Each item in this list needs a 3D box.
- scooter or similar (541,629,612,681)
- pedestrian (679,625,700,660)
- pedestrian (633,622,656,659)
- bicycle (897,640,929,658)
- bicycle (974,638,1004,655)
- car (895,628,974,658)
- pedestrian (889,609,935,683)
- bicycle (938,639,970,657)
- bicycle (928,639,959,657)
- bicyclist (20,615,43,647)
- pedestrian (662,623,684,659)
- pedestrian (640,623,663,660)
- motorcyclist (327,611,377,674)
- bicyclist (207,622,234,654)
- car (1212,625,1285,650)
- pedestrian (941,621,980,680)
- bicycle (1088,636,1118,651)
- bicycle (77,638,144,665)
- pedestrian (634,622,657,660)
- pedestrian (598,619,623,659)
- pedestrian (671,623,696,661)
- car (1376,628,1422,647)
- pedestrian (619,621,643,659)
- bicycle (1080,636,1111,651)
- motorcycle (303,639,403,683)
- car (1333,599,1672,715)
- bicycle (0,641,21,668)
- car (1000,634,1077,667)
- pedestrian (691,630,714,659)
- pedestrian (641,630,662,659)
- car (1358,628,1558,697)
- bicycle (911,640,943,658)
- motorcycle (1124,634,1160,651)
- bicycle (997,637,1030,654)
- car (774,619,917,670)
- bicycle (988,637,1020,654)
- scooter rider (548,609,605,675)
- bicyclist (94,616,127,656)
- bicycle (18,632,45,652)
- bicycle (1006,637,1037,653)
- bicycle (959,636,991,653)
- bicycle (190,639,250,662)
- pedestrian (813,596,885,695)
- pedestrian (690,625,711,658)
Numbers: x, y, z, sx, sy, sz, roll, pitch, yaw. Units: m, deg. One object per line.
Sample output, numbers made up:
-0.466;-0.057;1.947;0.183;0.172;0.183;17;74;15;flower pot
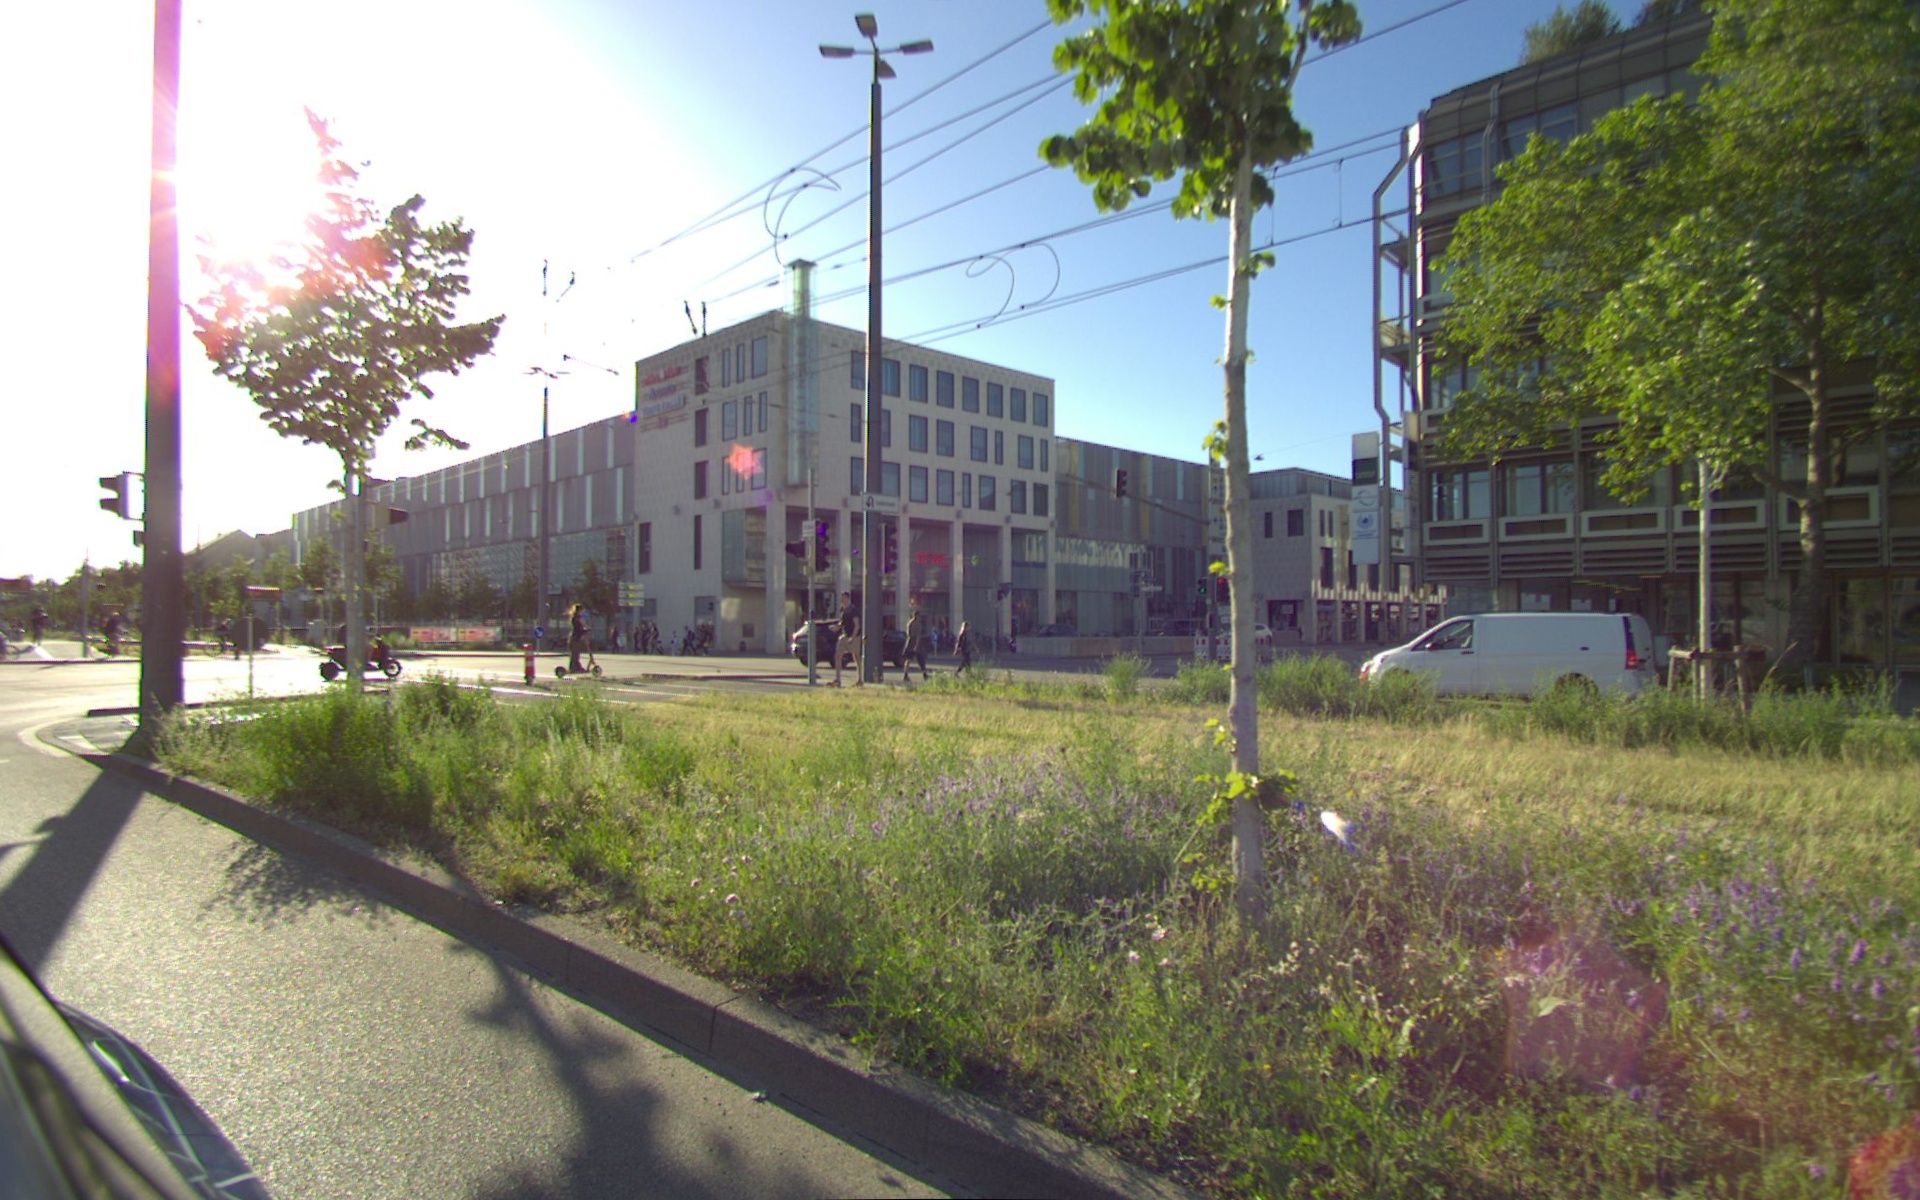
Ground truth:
-9.261;1.309;24.459;1.461;1.184;0.645;1;-1;-44;scooter or similar
-15.949;2.487;59.679;0.907;2.029;1.021;0;-2;9;pedestrian
-18.904;2.419;60.601;0.897;2.140;0.935;-1;-2;38;pedestrian
-2.996;3.095;64.029;0.647;1.121;2.414;1;-2;-41;bicycle
1.968;3.113;68.631;0.584;1.119;2.480;1;-2;-39;bicycle
-1.410;2.401;57.083;4.229;1.593;1.946;1;-2;-43;car
-1.173;1.118;24.787;0.858;1.757;0.729;-2;-1;41;pedestrian
-0.417;3.125;66.344;0.673;1.119;2.480;1;-2;-39;bicycle
-1.077;3.133;65.891;0.673;1.119;2.481;1;-2;-38;bicycle
-44.113;1.477;48.096;0.617;1.517;0.745;-2;-2;43;bicyclist
-17.278;2.463;60.946;0.896;2.140;0.936;-1;-2;33;pedestrian
-18.108;2.407;59.343;0.894;2.140;0.938;-1;-2;27;pedestrian
-14.577;1.002;24.252;0.869;1.495;0.758;1;-1;-44;motorcyclist
-32.938;1.690;45.064;0.805;1.367;0.830;-1;-1;42;bicyclist
20.057;2.598;70.307;5.527;1.705;2.184;2;-2;-41;car
0.027;1.375;27.820;0.889;1.561;0.920;-1;0;12;pedestrian
10.907;3.337;77.362;0.650;1.119;2.480;1;-2;-39;bicycle
-33.213;2.004;39.600;1.946;1.004;0.650;0;-1;-36;bicycle
-17.561;2.281;56.575;0.889;2.140;0.943;0;-2;11;pedestrian
-19.355;2.146;55.985;0.893;2.140;0.938;-1;-2;26;pedestrian
-15.873;2.386;58.108;1.051;2.145;1.095;0;-1;7;pedestrian
34.690;2.921;79.898;4.199;1.461;1.944;2;-3;-45;car
-18.640;2.270;57.321;0.890;2.140;0.942;0;-2;15;pedestrian
10.278;3.320;76.851;0.650;1.119;2.480;1;-2;-39;bicycle
-14.535;1.445;24.283;1.931;0.976;0.758;1;-1;-45;motorcycle
10.859;1.113;20.636;5.711;2.029;2.233;-2;-4;44;car
-35.902;2.031;37.140;0.805;0.986;2.048;-1;-1;42;bicycle
4.329;2.743;55.526;1.945;1.690;4.231;-2;-2;44;car
-14.730;2.537;57.908;0.996;1.663;0.946;0;-1;9;pedestrian
-16.663;2.404;54.706;0.931;1.583;0.843;0;-1;-7;pedestrian
11.739;1.476;24.002;3.881;1.497;1.819;-2;-5;44;car
-2.114;3.115;65.037;0.673;1.119;2.480;1;-2;-40;bicycle
14.266;3.284;79.321;2.676;1.227;0.903;0;-1;43;motorcycle
3.737;3.168;70.958;0.821;1.119;2.480;1;-2;-39;bicycle
-3.969;1.504;35.632;2.201;1.675;4.724;-2;-2;43;car
3.047;3.154;70.391;0.673;1.119;2.480;1;-2;-39;bicycle
-9.265;0.997;24.467;1.100;1.556;0.645;1;-1;-44;scooter rider
-33.246;1.400;39.604;0.926;1.556;0.650;0;-1;-36;bicyclist
-44.109;1.980;48.081;2.394;0.948;0.745;-2;-2;43;bicycle
4.365;3.178;71.560;0.673;1.119;2.480;1;-2;-39;bicycle
1.004;2.970;67.396;0.673;1.119;2.480;1;-2;-39;bicycle
-32.926;2.221;45.057;0.805;0.934;2.048;-1;-1;42;bicycle
-2.235;0.901;20.409;1.015;1.925;1.036;-2;-2;44;pedestrian
-15.700;2.503;61.296;0.907;2.029;1.021;0;-2;9;pedestrian
